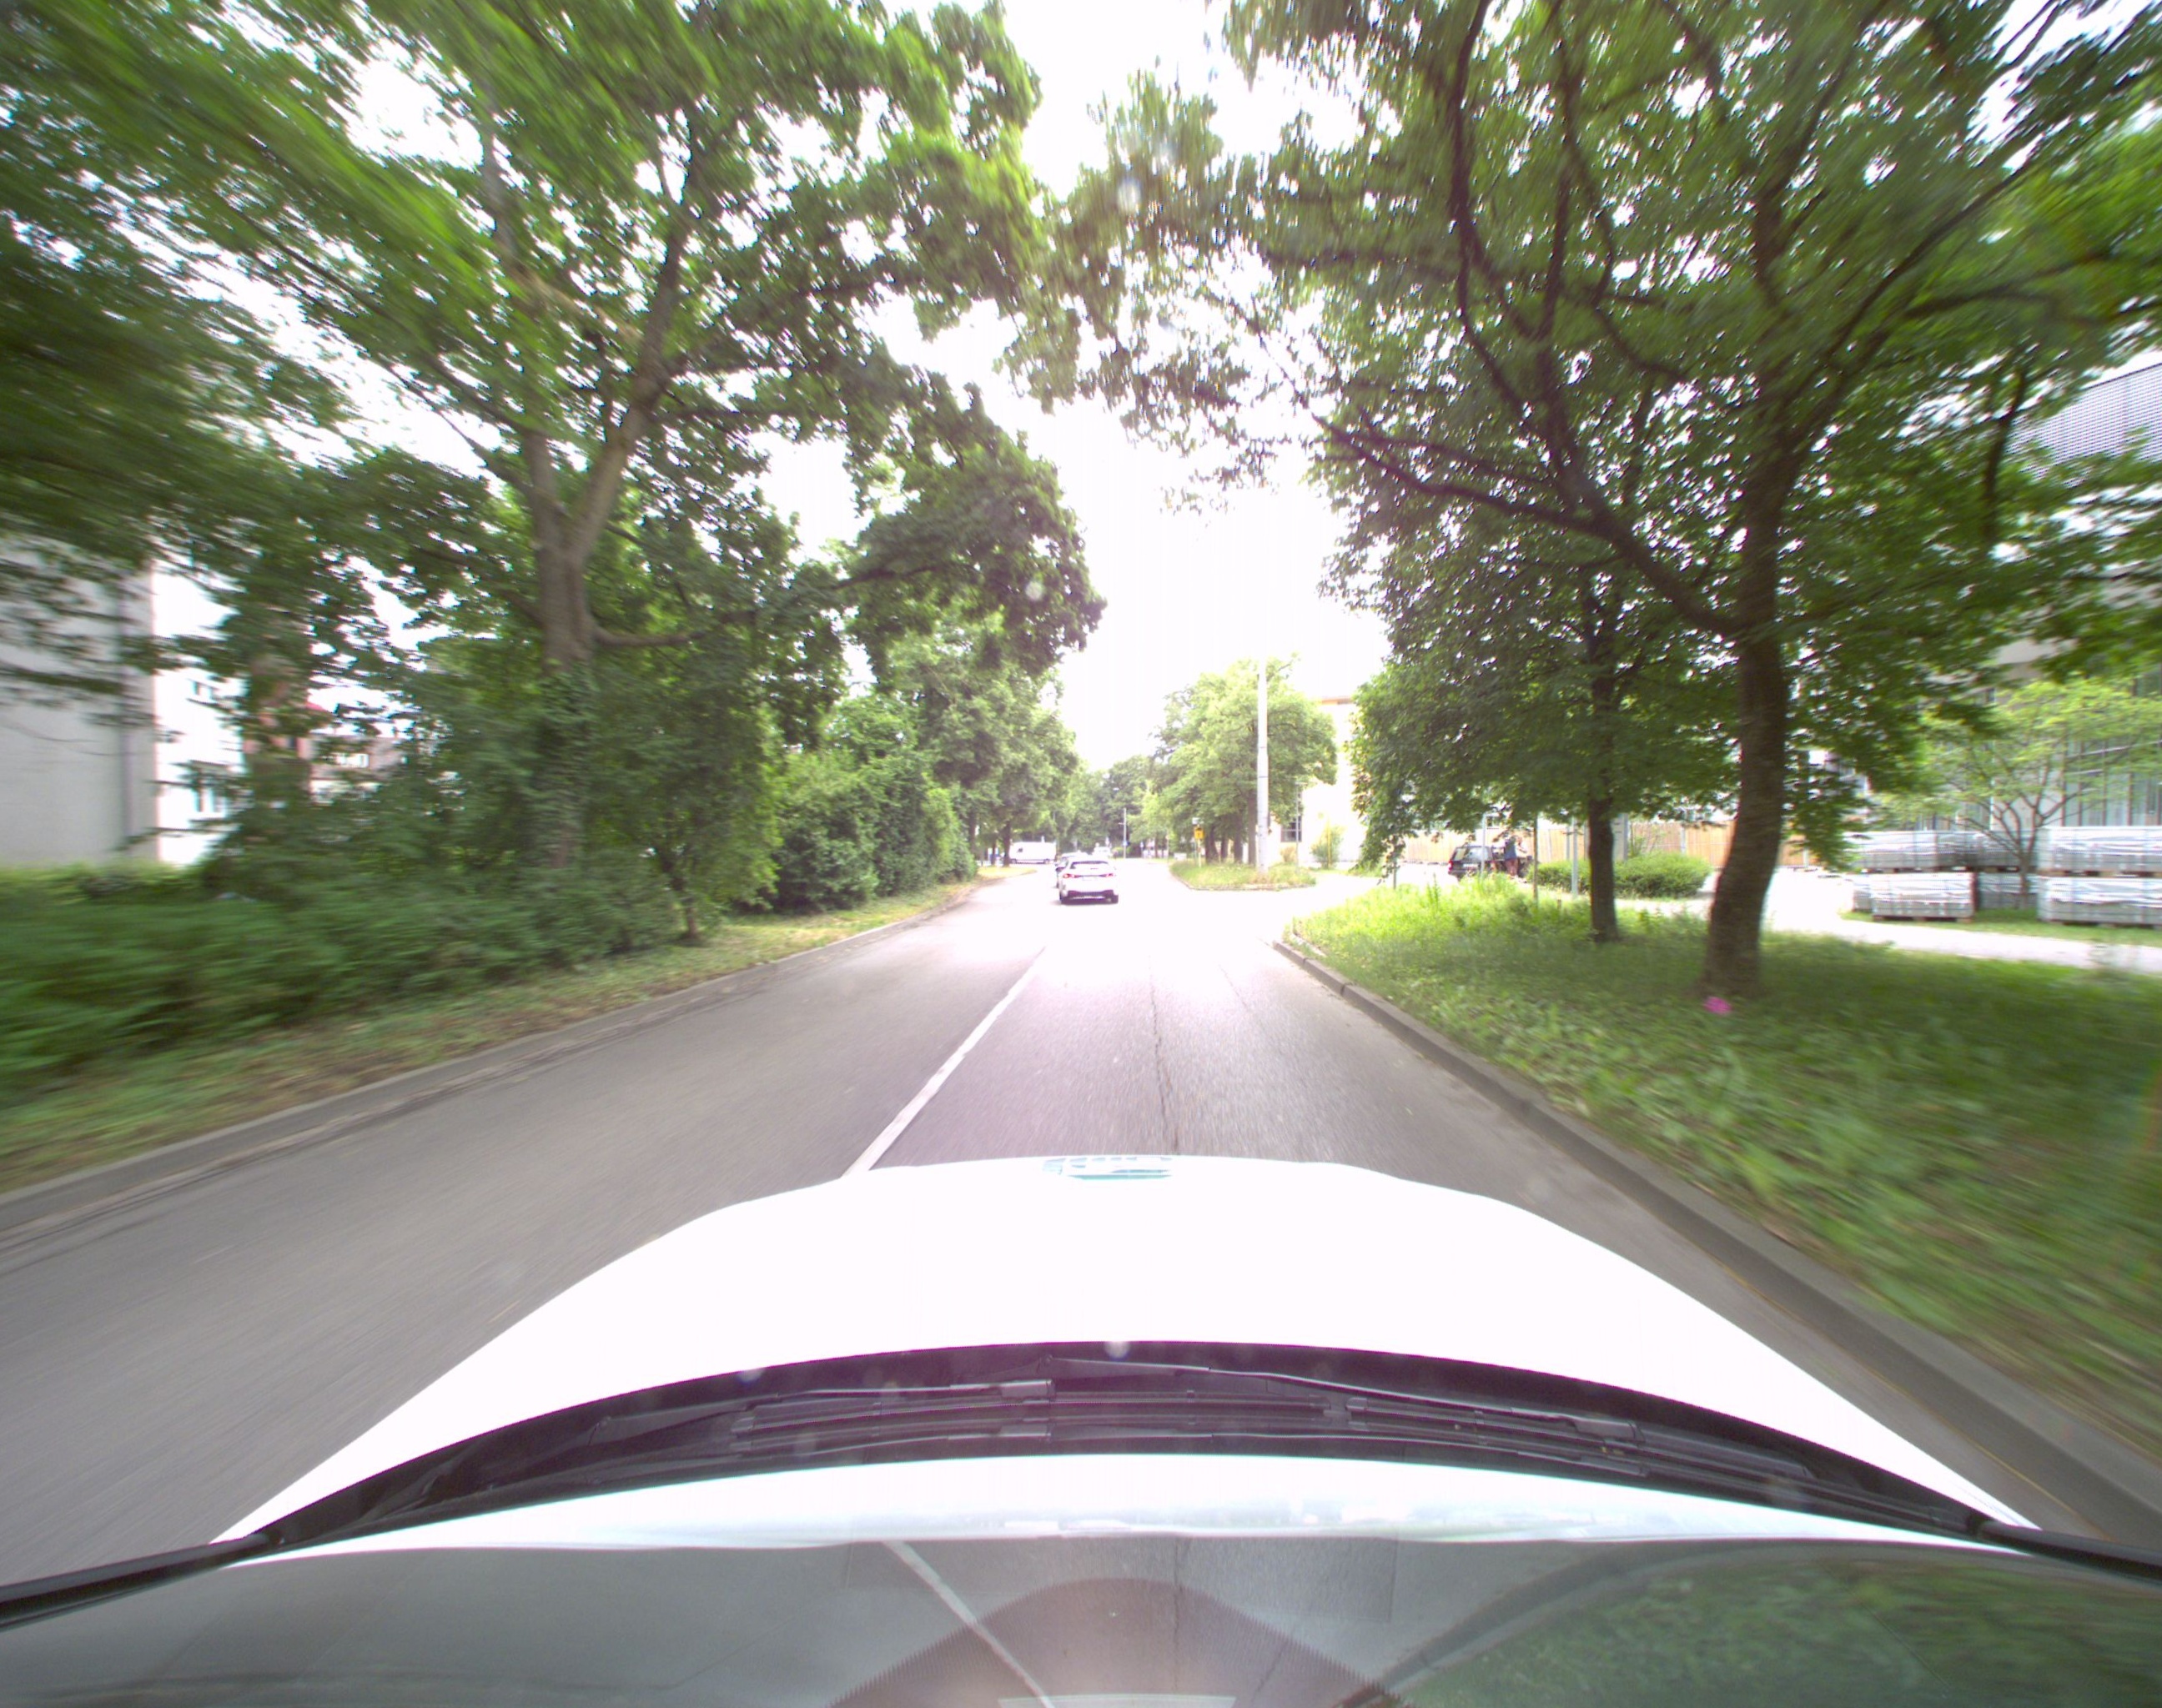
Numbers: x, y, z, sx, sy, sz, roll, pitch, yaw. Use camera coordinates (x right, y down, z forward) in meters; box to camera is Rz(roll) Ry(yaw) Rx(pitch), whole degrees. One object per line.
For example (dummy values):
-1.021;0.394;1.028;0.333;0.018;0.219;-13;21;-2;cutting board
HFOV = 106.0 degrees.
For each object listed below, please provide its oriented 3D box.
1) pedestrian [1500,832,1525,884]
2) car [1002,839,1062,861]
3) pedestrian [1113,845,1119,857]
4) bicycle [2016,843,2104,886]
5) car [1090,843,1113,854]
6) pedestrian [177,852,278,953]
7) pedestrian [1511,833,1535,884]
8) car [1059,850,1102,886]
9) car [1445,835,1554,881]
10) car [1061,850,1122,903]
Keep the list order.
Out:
14.851;0.124;28.057;0.475;1.754;0.579;-4;4;-26;pedestrian
-5.796;-0.460;97.119;7.007;2.521;2.064;1;2;-33;car
5.426;-0.483;126.279;0.920;1.871;1.019;-4;3;0;pedestrian
24.888;0.252;20.727;1.383;1.072;0.395;1;0;33;bicycle
4.808;-1.262;188.316;2.111;2.297;5.418;4;2;43;car
-13.425;0.735;12.830;0.605;1.500;0.873;3;1;4;pedestrian
15.435;0.142;28.460;0.499;1.725;0.532;-4;4;-26;pedestrian
0.014;0.610;38.565;1.916;1.574;4.002;0;1;2;car
15.476;0.111;30.006;4.767;1.516;1.849;-2;0;-40;car
0.371;0.671;26.361;1.789;1.517;4.209;-1;0;2;car
